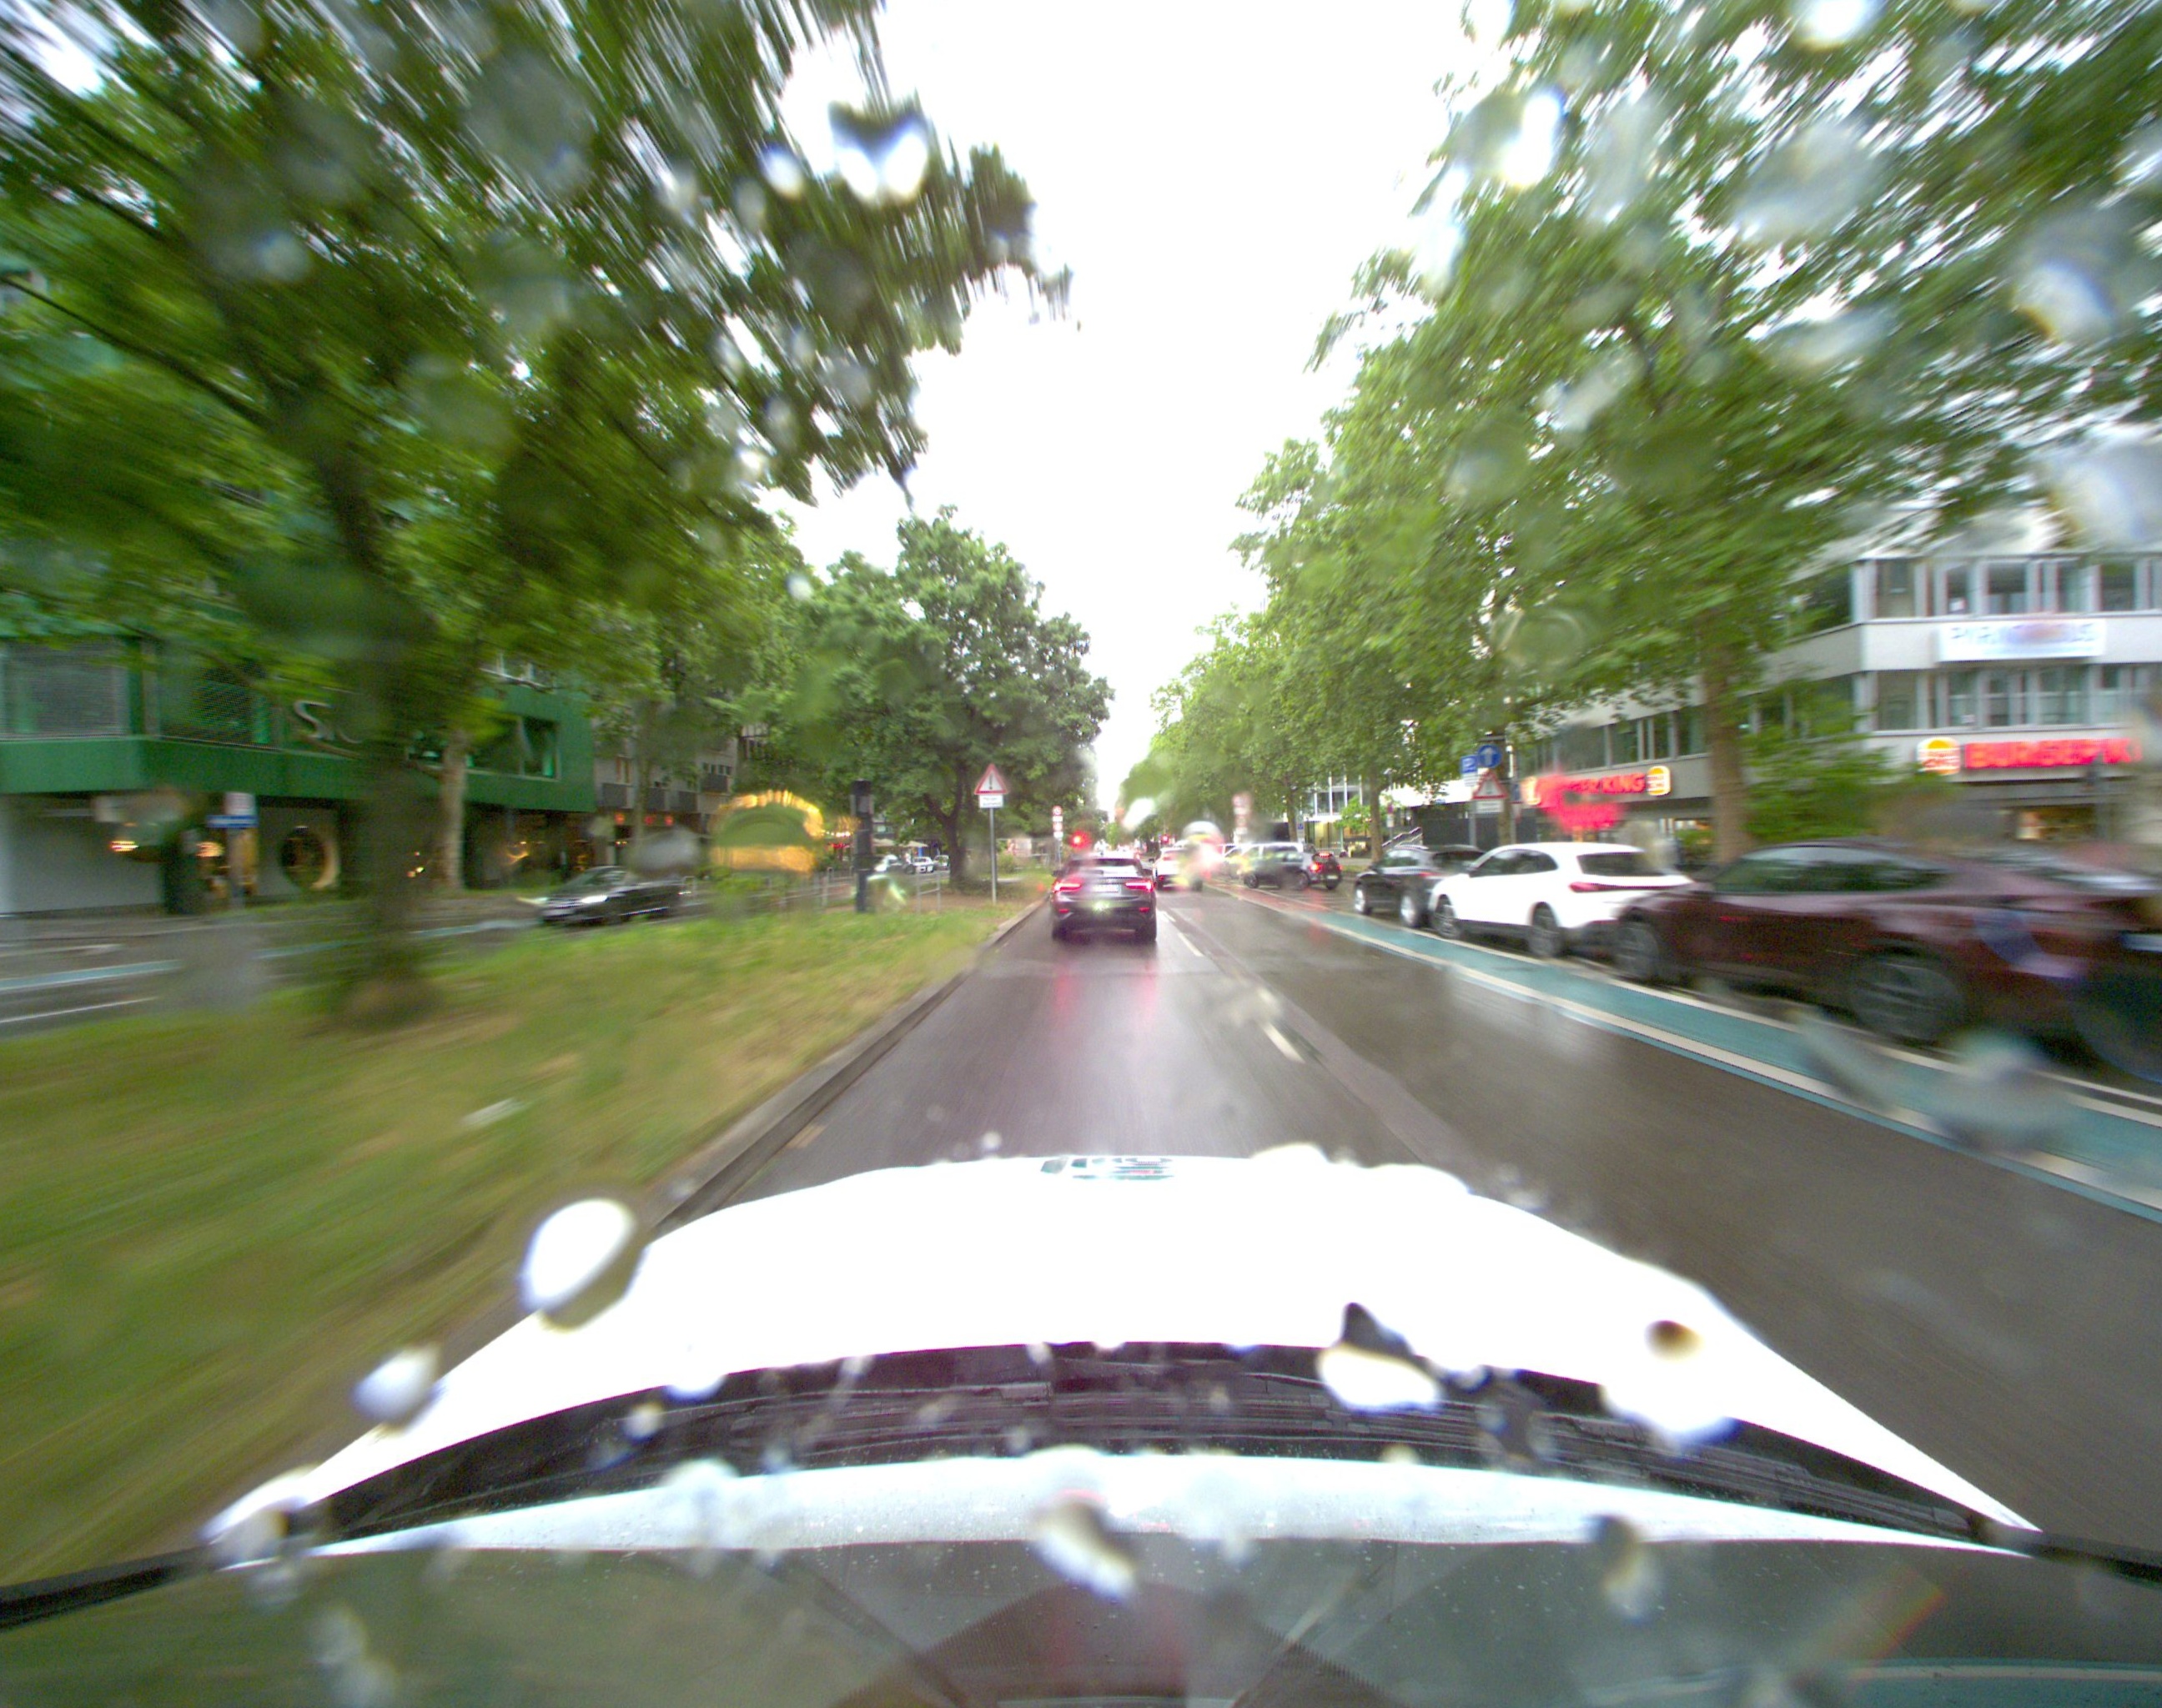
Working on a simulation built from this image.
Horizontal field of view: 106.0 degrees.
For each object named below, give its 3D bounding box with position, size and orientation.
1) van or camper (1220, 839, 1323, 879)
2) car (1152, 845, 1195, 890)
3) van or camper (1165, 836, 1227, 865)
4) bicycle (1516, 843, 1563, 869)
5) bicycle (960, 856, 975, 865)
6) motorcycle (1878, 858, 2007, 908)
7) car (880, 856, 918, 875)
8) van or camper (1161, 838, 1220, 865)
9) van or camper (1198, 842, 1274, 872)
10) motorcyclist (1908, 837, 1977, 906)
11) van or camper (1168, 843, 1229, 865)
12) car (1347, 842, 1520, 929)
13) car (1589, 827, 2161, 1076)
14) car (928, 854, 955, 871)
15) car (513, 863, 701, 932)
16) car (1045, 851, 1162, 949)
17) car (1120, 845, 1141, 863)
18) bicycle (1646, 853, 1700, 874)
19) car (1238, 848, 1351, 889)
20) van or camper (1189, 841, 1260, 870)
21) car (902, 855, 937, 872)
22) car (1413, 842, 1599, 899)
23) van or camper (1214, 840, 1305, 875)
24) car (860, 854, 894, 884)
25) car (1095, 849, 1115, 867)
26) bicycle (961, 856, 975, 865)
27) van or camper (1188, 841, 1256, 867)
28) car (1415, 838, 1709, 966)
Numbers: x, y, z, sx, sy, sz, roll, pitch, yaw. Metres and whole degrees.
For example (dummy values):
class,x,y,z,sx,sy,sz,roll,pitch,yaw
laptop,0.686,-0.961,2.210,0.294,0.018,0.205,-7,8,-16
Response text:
class,x,y,z,sx,sy,sz,roll,pitch,yaw
van or camper,9.979,0.273,42.885,4.884,1.992,2.015,-1,0,39
car,3.669,0.494,32.631,1.428,1.685,2.980,-2,0,2
van or camper,11.368,-0.357,80.789,5.736,2.680,2.013,-2,0,37
bicycle,19.128,0.068,34.003,0.640,0.922,1.911,-10,2,-4
bicycle,-14.759,0.883,106.188,1.842,1.136,0.565,-2,0,-6
motorcycle,21.242,0.679,20.140,0.868,1.142,2.010,-1,0,-16
car,-14.460,0.922,64.897,1.818,1.394,4.485,-1,0,2
van or camper,11.269,-0.259,84.240,5.741,2.677,2.161,-1,0,39
van or camper,10.653,0.197,56.189,4.792,1.998,1.880,-1,0,38
motorcyclist,21.240,0.427,20.090,0.848,1.644,0.866,-1,0,-17
van or camper,10.692,0.010,74.188,5.142,1.992,2.013,0,-1,36
car,7.282,0.581,17.357,1.787,1.603,4.423,0,0,0
car,7.168,0.608,7.540,1.988,1.589,4.557,-1,0,-2
car,-14.086,0.827,82.400,1.987,1.509,4.517,-2,0,-1
car,-12.444,1.059,21.845,1.985,1.491,4.761,-2,0,3
car,0.474,0.736,15.506,1.856,1.532,4.530,-1,0,3
car,5.133,-0.026,84.377,1.986,1.750,4.002,-2,0,2
bicycle,24.206,0.360,33.338,0.640,0.819,1.909,-1,0,-7
car,8.043,0.543,30.982,1.778,1.413,3.959,-2,0,-33
van or camper,10.553,0.125,60.162,4.733,2.011,2.013,-1,0,37
car,-14.199,0.838,71.870,1.986,1.370,4.541,1,0,2
car,12.374,0.483,23.945,1.876,1.445,4.458,6,-4,-37
van or camper,10.759,0.180,49.279,5.023,2.019,2.010,0,0,38
car,-11.908,0.843,47.691,1.720,1.626,4.423,-1,0,-12
car,2.235,0.351,76.169,1.715,1.577,3.963,-2,0,1
bicycle,-14.824,0.864,106.835,1.842,1.149,0.565,-2,0,-6
van or camper,11.522,0.036,66.799,5.042,2.025,2.119,-1,0,39
car,6.999,0.587,12.496,1.747,1.585,4.406,-1,0,-3
